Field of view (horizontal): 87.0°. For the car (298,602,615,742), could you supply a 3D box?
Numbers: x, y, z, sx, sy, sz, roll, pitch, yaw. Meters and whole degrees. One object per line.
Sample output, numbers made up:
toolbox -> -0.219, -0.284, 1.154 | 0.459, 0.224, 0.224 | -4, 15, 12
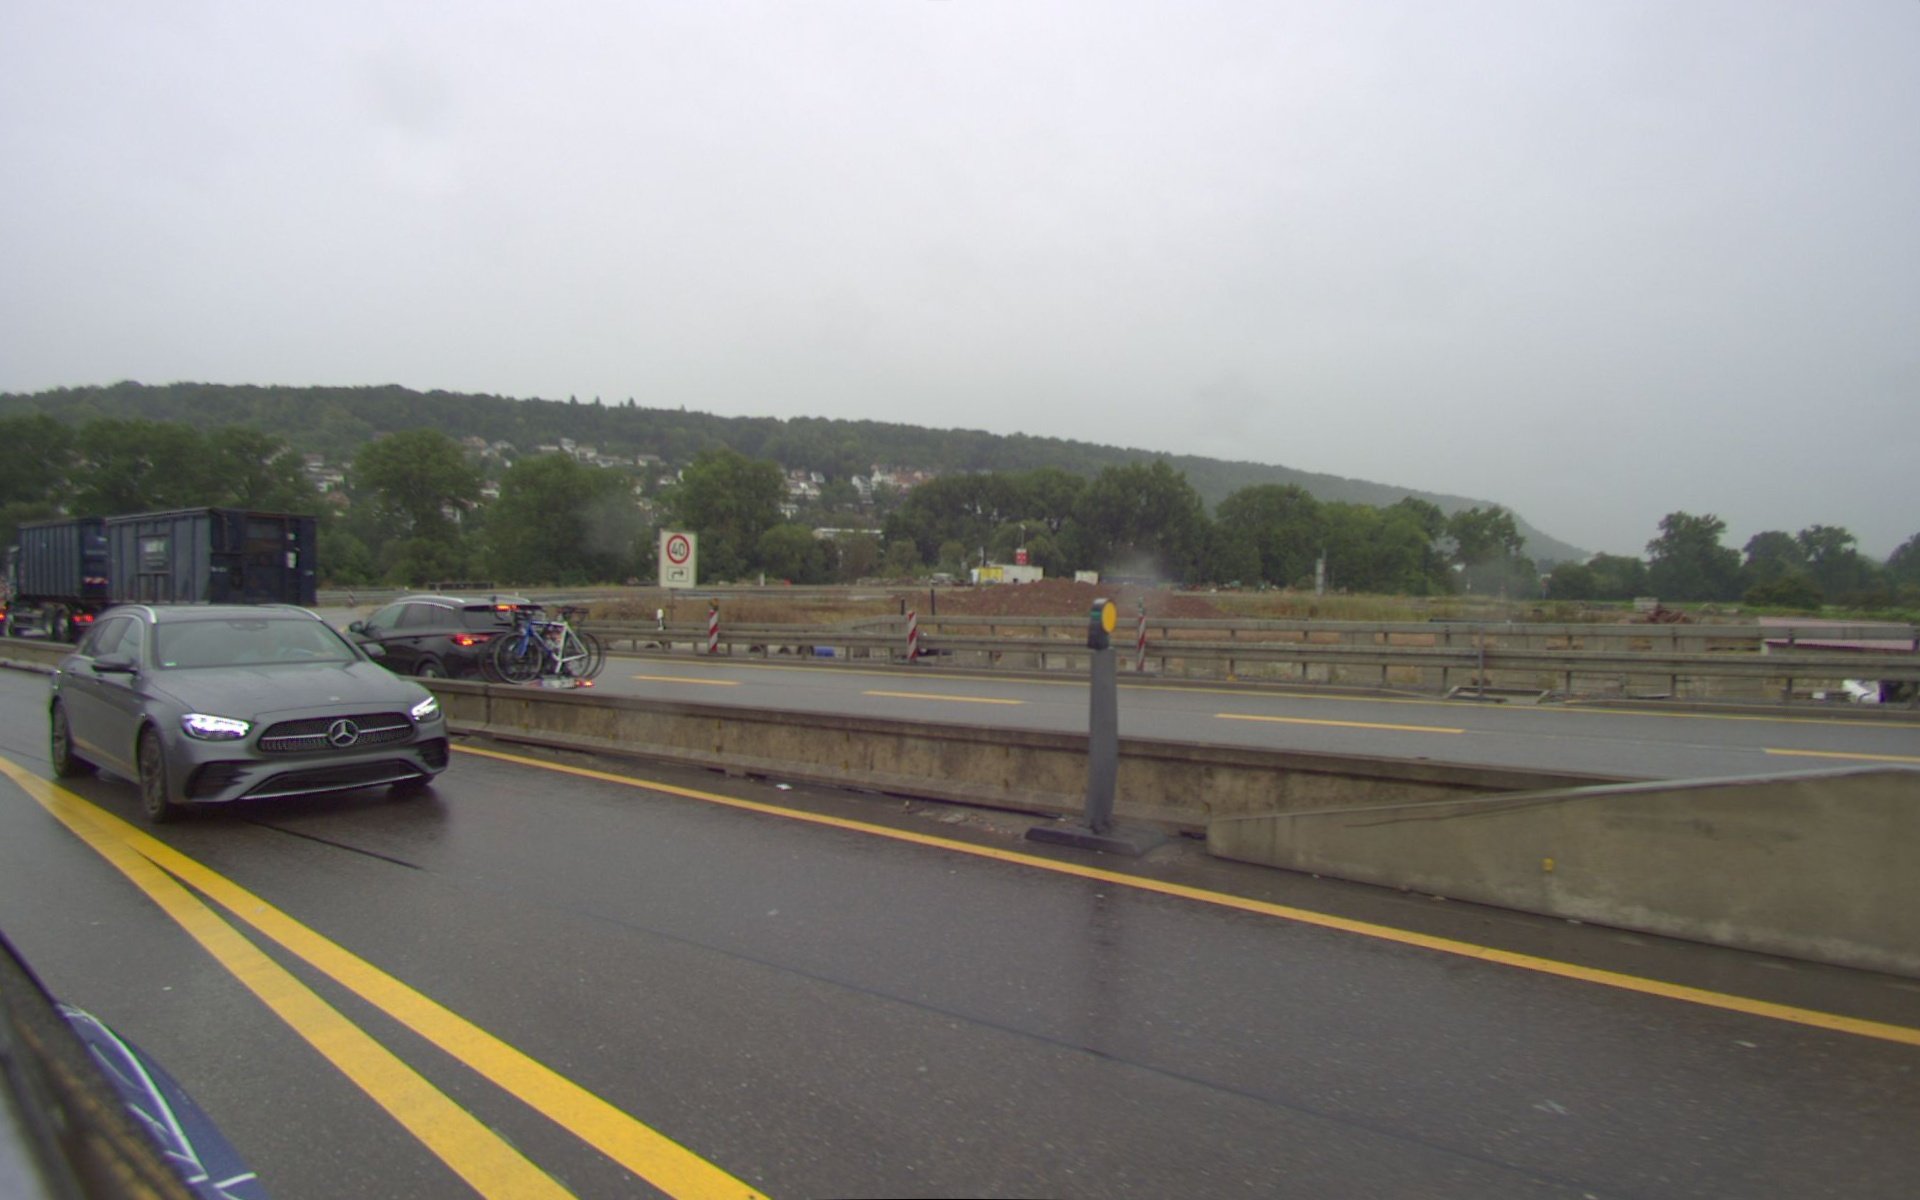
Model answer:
car -> -7.430, 0.882, 14.649 | 5.539, 1.697, 1.722 | 0, 0, 35

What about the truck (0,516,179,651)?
truck -> -29.407, -0.468, 33.728 | 9.188, 4.000, 2.620 | 0, 0, 34

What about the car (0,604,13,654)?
car -> -30.970, 0.872, 31.041 | 4.658, 1.482, 1.853 | 0, 0, 34

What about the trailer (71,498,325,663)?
trailer -> -21.589, -0.452, 28.412 | 9.648, 4.000, 2.723 | 0, 0, 34

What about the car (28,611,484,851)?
car -> -5.957, 0.821, 8.359 | 4.478, 1.449, 1.928 | 0, 0, 39
